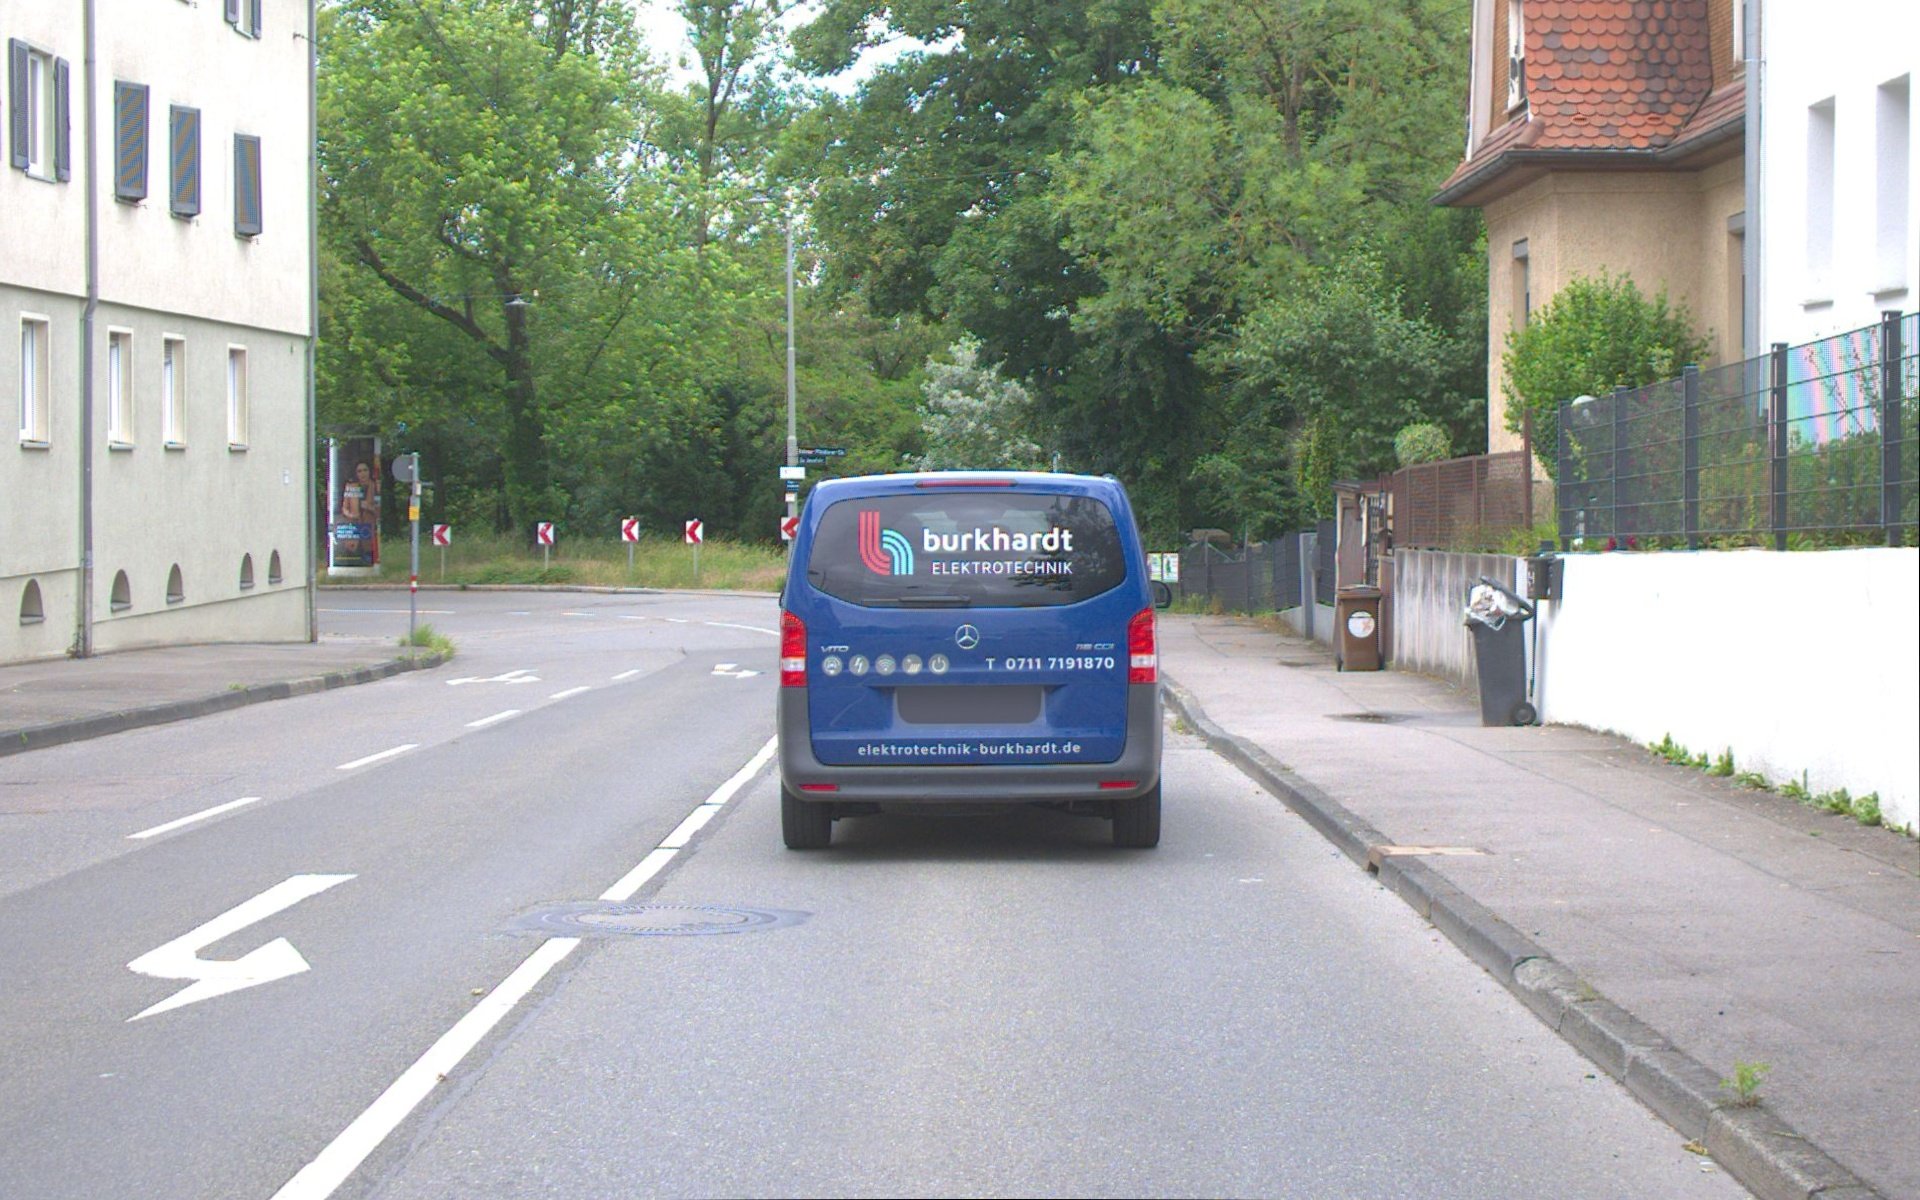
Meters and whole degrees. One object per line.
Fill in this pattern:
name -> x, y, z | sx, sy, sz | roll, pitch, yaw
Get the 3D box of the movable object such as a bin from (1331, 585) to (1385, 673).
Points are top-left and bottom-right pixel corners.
movable object such as a bin -> 4.312, 0.312, 37.278 | 0.461, 0.921, 0.566 | -3, 1, -1

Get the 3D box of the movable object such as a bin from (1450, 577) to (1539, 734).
movable object such as a bin -> 4.183, 0.428, 26.930 | 0.528, 1.174, 0.634 | -3, 1, -1

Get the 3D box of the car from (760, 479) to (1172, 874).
car -> -0.044, 0.315, 18.138 | 1.913, 1.831, 4.294 | 0, 1, -2
